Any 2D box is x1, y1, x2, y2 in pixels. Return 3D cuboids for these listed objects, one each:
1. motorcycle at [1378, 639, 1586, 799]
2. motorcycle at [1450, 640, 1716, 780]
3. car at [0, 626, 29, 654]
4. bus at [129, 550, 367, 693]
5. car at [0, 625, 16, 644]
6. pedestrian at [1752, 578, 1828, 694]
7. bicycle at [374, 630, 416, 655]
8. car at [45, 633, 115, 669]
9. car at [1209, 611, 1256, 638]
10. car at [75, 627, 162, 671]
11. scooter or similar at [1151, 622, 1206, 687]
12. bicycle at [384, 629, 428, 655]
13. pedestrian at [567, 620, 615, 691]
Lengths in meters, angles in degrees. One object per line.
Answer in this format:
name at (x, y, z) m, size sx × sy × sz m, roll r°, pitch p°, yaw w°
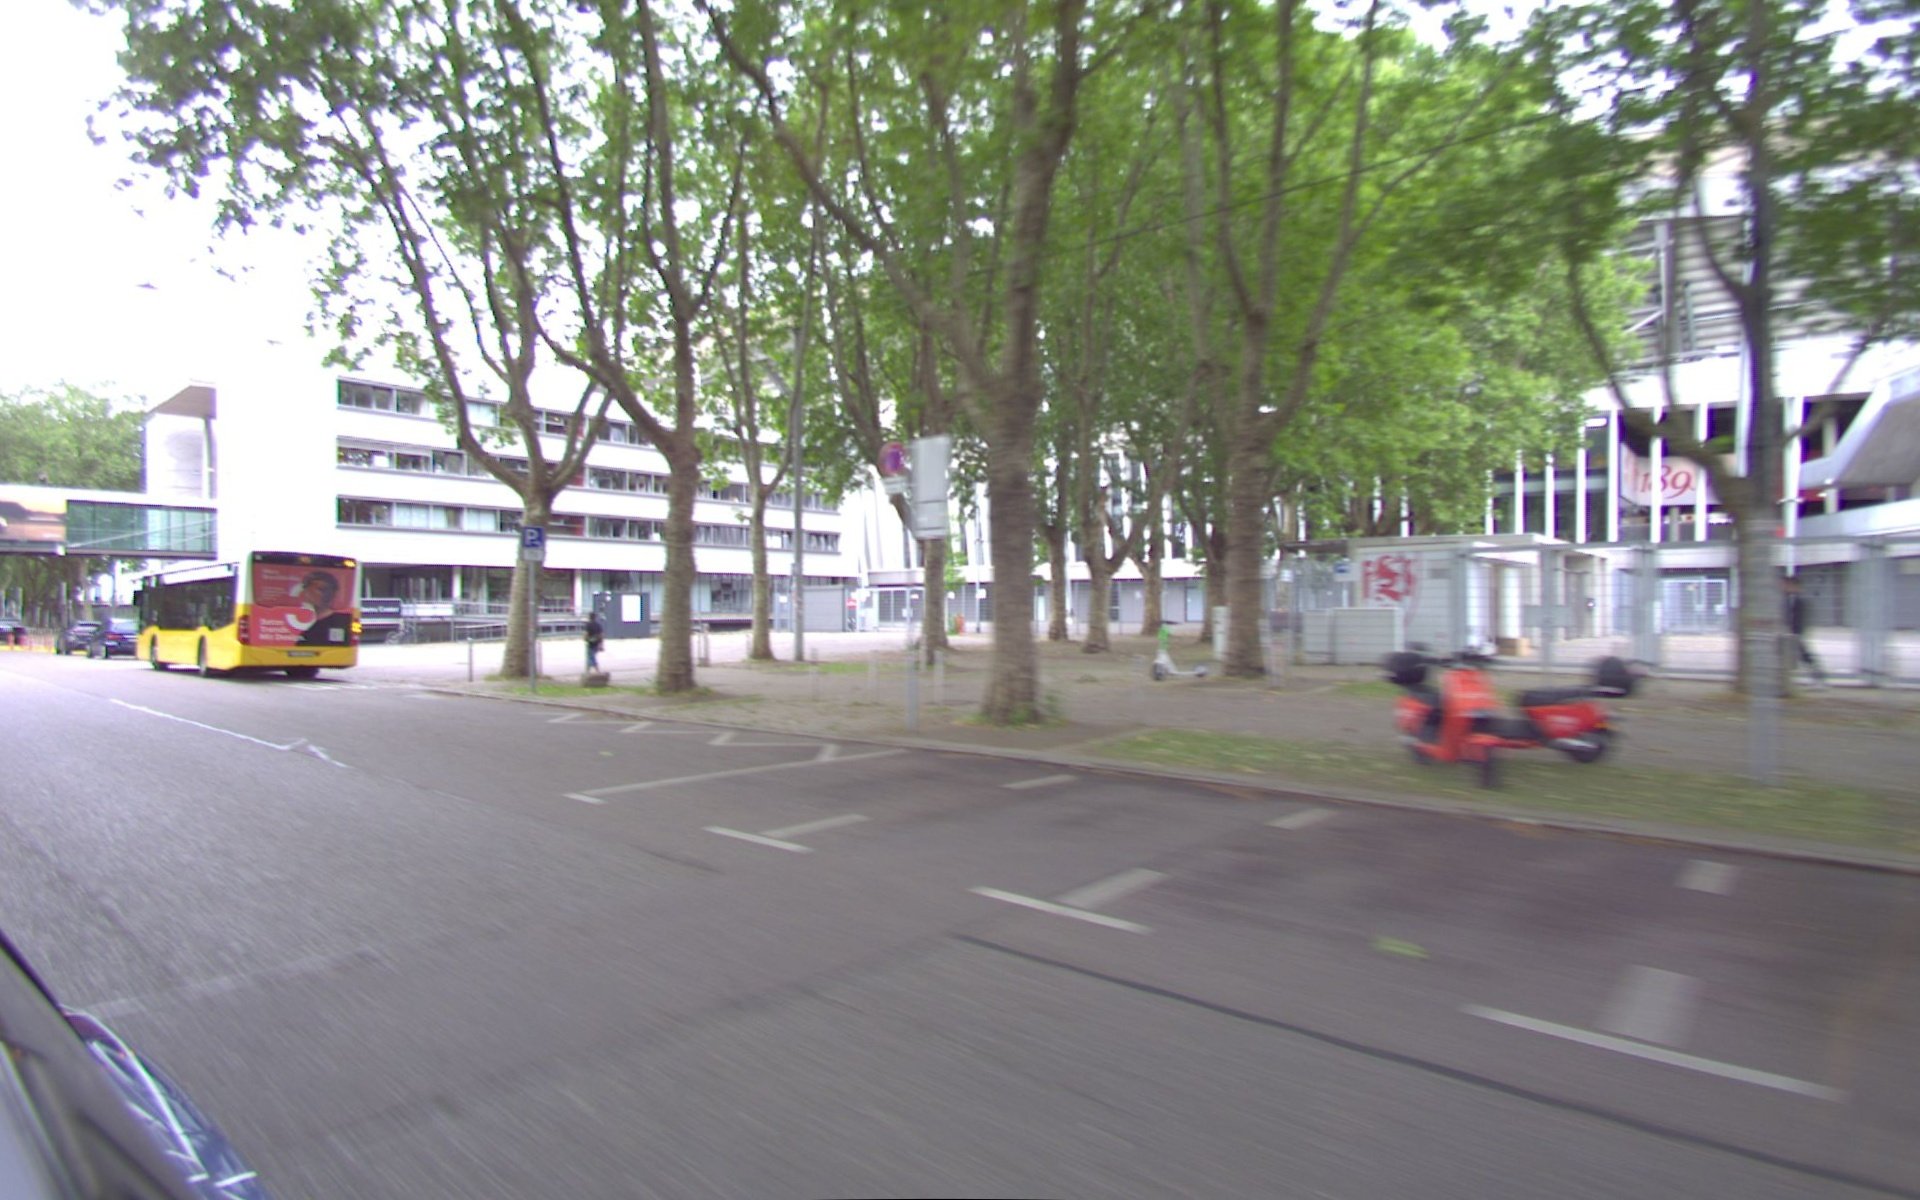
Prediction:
motorcycle at (4.542, 0.975, 9.007) m, size 0.566 × 1.166 × 2.080 m, roll -1°, pitch 0°, yaw -6°
motorcycle at (5.853, 0.982, 9.597) m, size 2.075 × 1.167 × 0.567 m, roll -1°, pitch 0°, yaw 39°
car at (-60.697, 2.517, 64.128) m, size 4.231 × 1.744 × 1.904 m, roll -1°, pitch -5°, yaw 41°
bus at (-19.846, 0.644, 27.682) m, size 12.367 × 3.179 × 2.623 m, roll -1°, pitch -4°, yaw 43°
car at (-74.665, 2.661, 78.515) m, size 3.801 × 1.480 × 1.640 m, roll -1°, pitch -5°, yaw 41°
pedestrian at (13.069, 0.543, 15.941) m, size 0.874 × 1.767 × 0.697 m, roll -1°, pitch 0°, yaw 40°
bicycle at (-28.661, 2.133, 51.381) m, size 0.470 × 1.196 × 1.808 m, roll -1°, pitch 0°, yaw 38°
car at (-39.390, 2.276, 45.282) m, size 4.007 × 1.526 × 1.735 m, roll -1°, pitch -5°, yaw 41°
car at (17.881, 1.584, 66.312) m, size 1.992 × 1.674 × 3.959 m, roll -2°, pitch -1°, yaw 30°
car at (-32.899, 1.904, 39.532) m, size 4.383 × 1.578 × 1.736 m, roll -1°, pitch -5°, yaw 40°
scooter or similar at (4.256, 1.041, 19.687) m, size 1.169 × 1.182 × 0.445 m, roll -1°, pitch 0°, yaw -44°
bicycle at (-27.750, 2.114, 50.713) m, size 0.568 × 1.196 × 1.895 m, roll -1°, pitch 0°, yaw 38°
pedestrian at (-8.554, 1.272, 23.477) m, size 0.912 × 1.601 × 0.655 m, roll -1°, pitch 0°, yaw 41°
